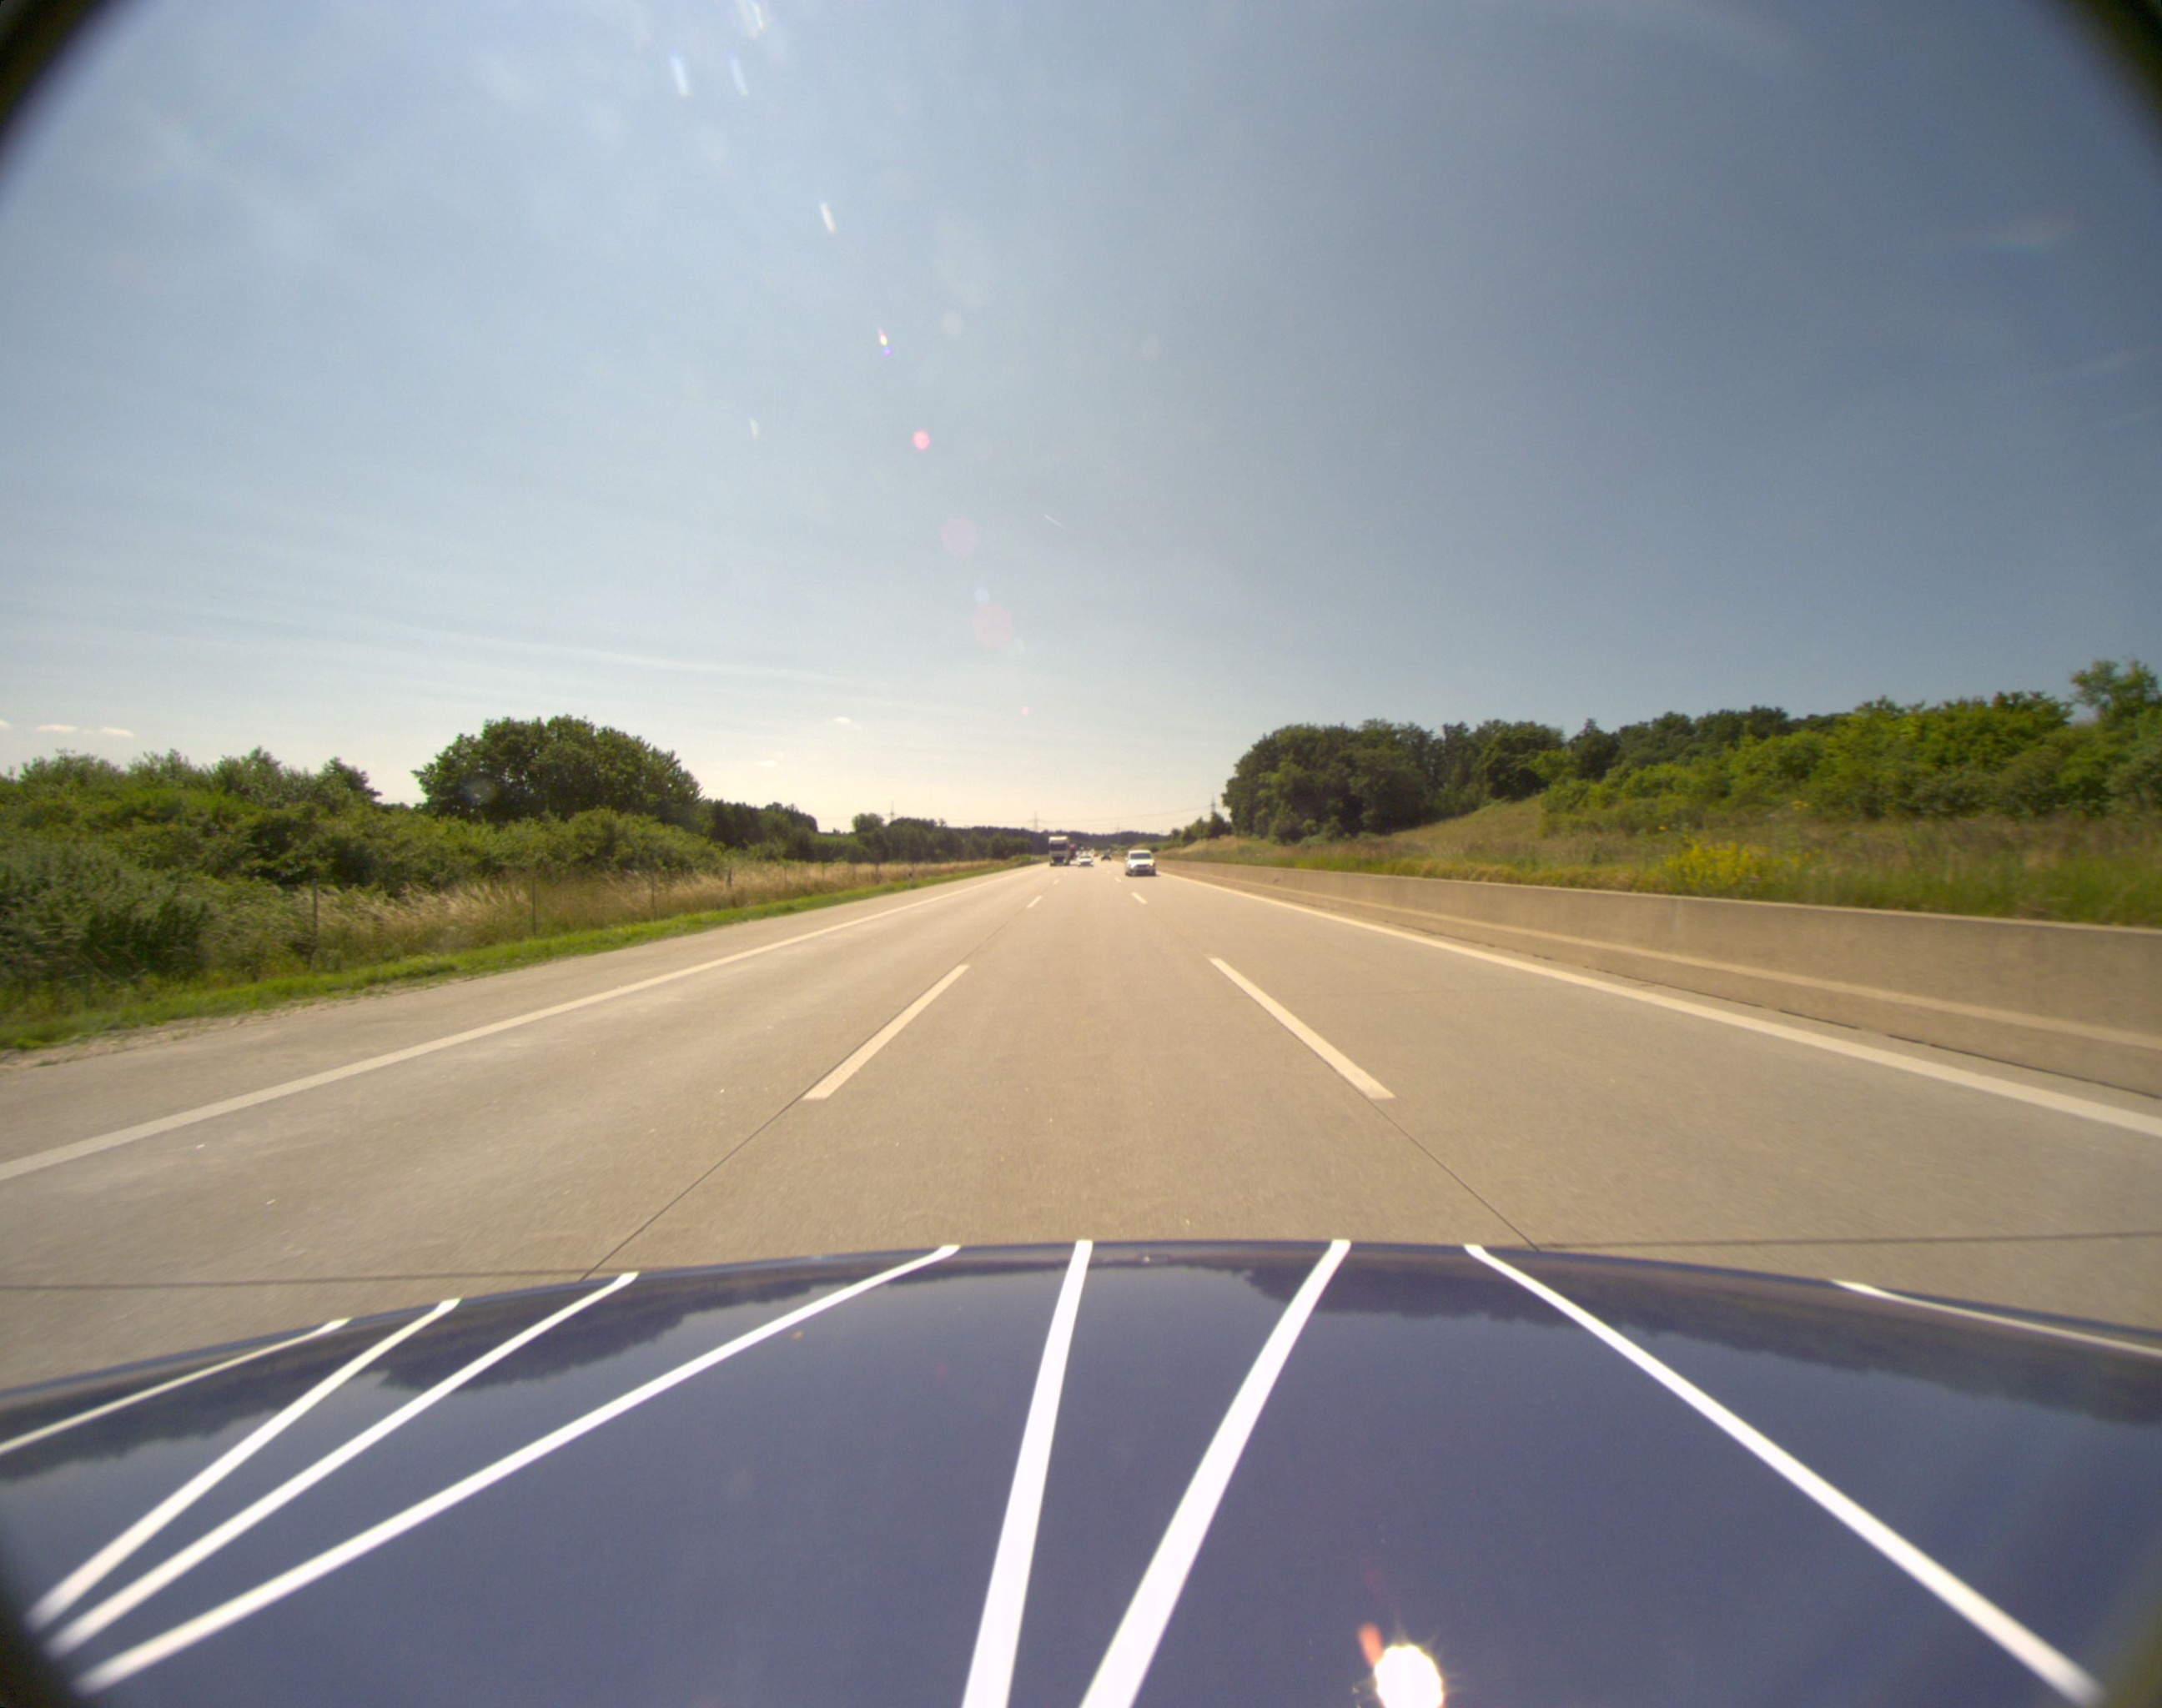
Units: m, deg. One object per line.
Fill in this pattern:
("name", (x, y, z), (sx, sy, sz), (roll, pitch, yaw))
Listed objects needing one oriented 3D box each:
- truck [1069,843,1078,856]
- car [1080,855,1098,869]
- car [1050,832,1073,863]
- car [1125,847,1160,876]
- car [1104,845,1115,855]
("truck", (-1.975, -1.166, 198.580), (2.351, 3.474, 5.245), (-1, 1, 0))
("car", (0.976, 0.950, 92.662), (2.065, 1.472, 5.068), (-5, 0, 0))
("car", (-2.744, -0.912, 108.039), (2.766, 4.029, 10.852), (-1, 0, 1))
("car", (4.024, 0.442, 50.861), (1.850, 1.698, 6.035), (-2, 1, 1))
("car", (5.839, -0.766, 154.255), (1.998, 1.836, 6.529), (-3, 1, 1))
